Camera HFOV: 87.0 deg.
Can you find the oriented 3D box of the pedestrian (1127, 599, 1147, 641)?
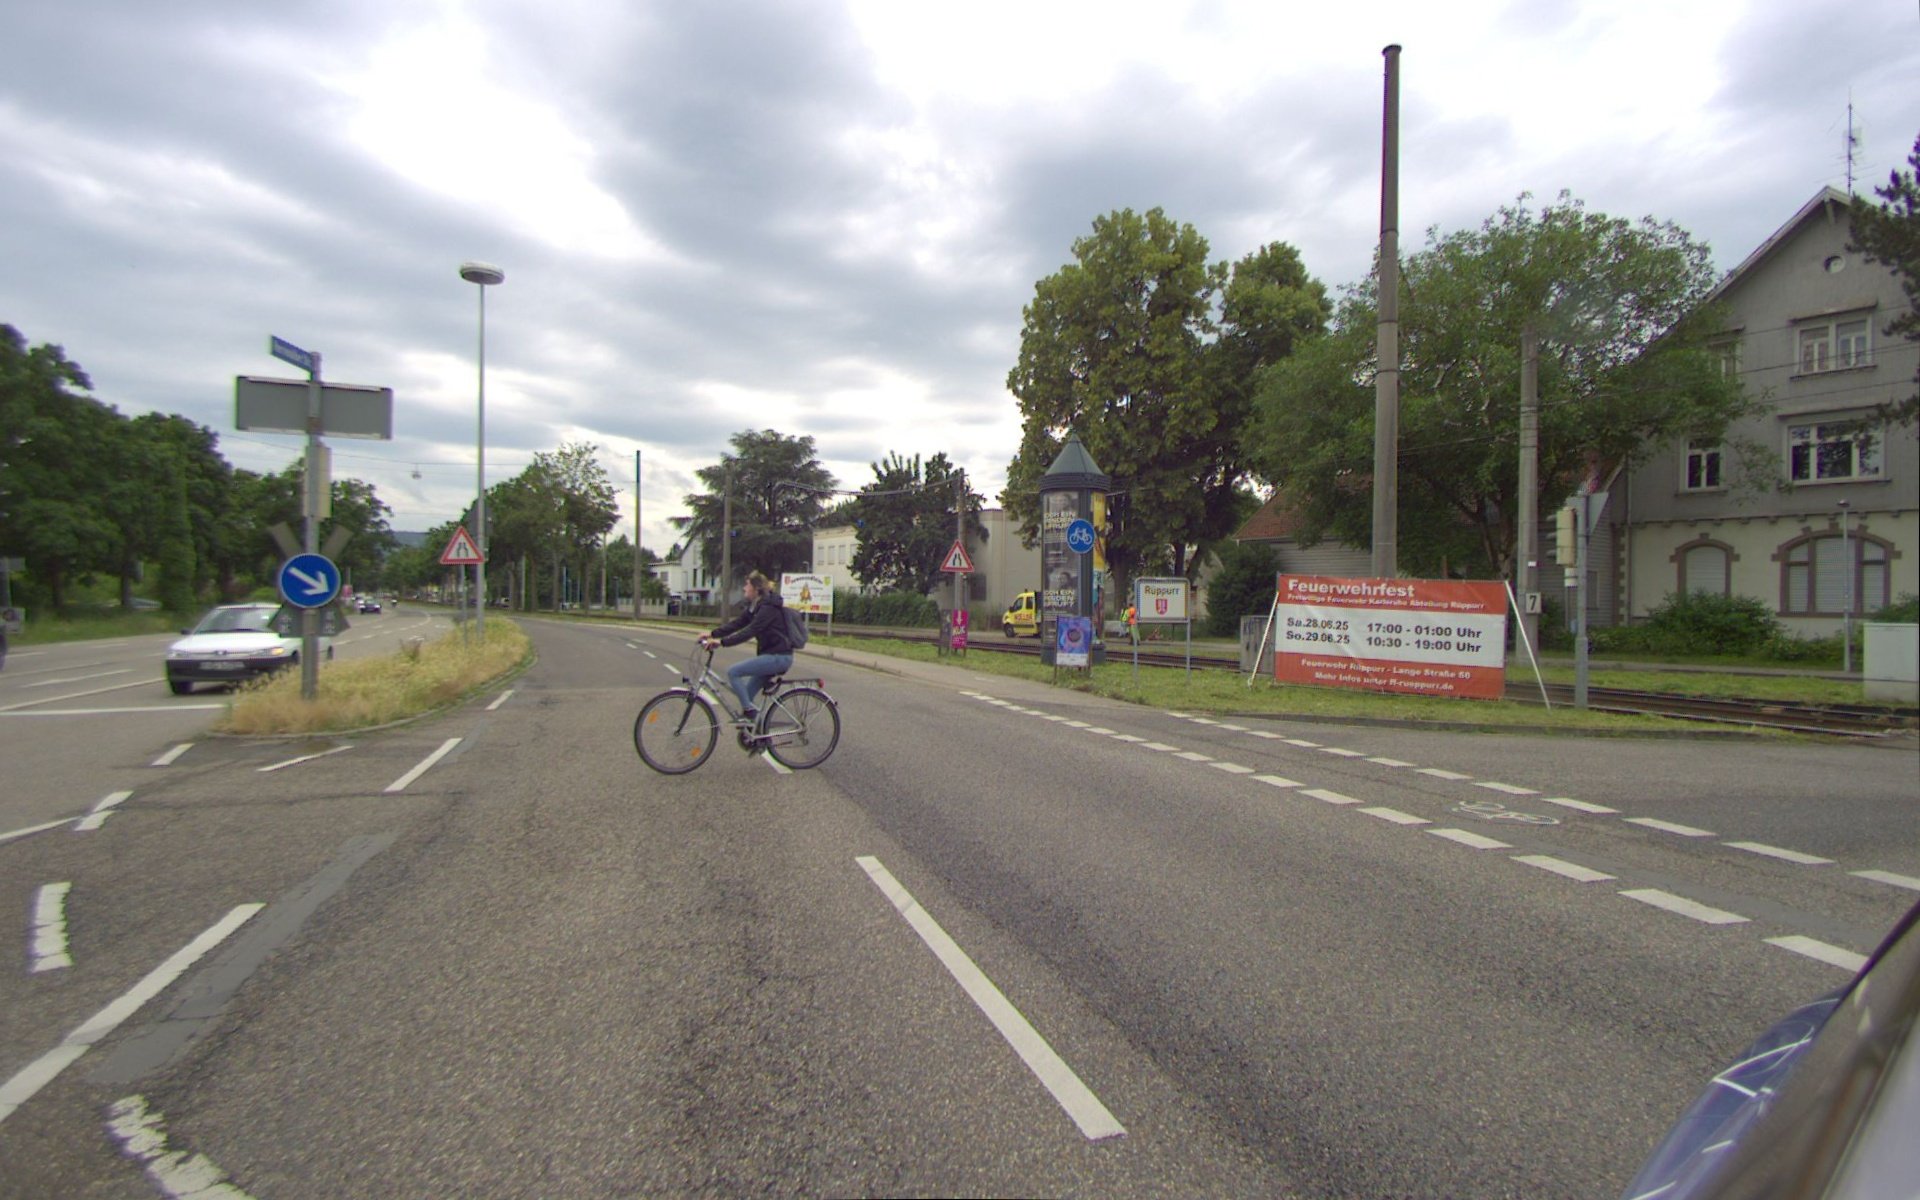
[{"bbox_3d":[7.703,0.869,44.085,0.625,1.785,0.575,1,-1,-42],"label":"pedestrian"}]

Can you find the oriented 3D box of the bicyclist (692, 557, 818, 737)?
[{"bbox_3d":[-1.755,0.394,8.598,0.941,1.444,0.624,0,-4,-22],"label":"bicyclist"}]

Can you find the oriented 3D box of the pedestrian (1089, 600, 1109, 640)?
[{"bbox_3d":[6.207,0.898,45.179,0.625,1.785,0.575,1,-1,-42],"label":"pedestrian"}]

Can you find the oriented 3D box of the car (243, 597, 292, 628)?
[{"bbox_3d":[-36.176,0.637,52.931,1.627,1.549,3.896,1,0,-27],"label":"car"}]

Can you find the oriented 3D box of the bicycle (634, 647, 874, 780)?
[{"bbox_3d":[-1.764,0.949,8.762,1.987,0.993,0.384,-1,0,-22],"label":"bicycle"}]

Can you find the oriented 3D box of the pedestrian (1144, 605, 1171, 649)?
[{"bbox_3d":[8.449,1.153,43.299,0.855,1.878,0.681,1,-1,-19],"label":"pedestrian"}]

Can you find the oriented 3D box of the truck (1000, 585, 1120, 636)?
[{"bbox_3d":[4.781,0.479,49.515,2.553,2.322,6.416,0,0,-31],"label":"truck"}]

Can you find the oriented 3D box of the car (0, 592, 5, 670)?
[{"bbox_3d":[-20.284,0.648,19.179,1.839,1.638,4.008,0,0,-22],"label":"car"}]

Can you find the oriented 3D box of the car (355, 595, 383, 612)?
[{"bbox_3d":[-56.946,0.296,97.583,1.723,1.594,4.008,0,0,-22],"label":"car"}]

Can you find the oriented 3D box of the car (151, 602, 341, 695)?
[{"bbox_3d":[-11.961,0.730,17.253,1.612,1.374,4.158,1,0,-20],"label":"car"}]
